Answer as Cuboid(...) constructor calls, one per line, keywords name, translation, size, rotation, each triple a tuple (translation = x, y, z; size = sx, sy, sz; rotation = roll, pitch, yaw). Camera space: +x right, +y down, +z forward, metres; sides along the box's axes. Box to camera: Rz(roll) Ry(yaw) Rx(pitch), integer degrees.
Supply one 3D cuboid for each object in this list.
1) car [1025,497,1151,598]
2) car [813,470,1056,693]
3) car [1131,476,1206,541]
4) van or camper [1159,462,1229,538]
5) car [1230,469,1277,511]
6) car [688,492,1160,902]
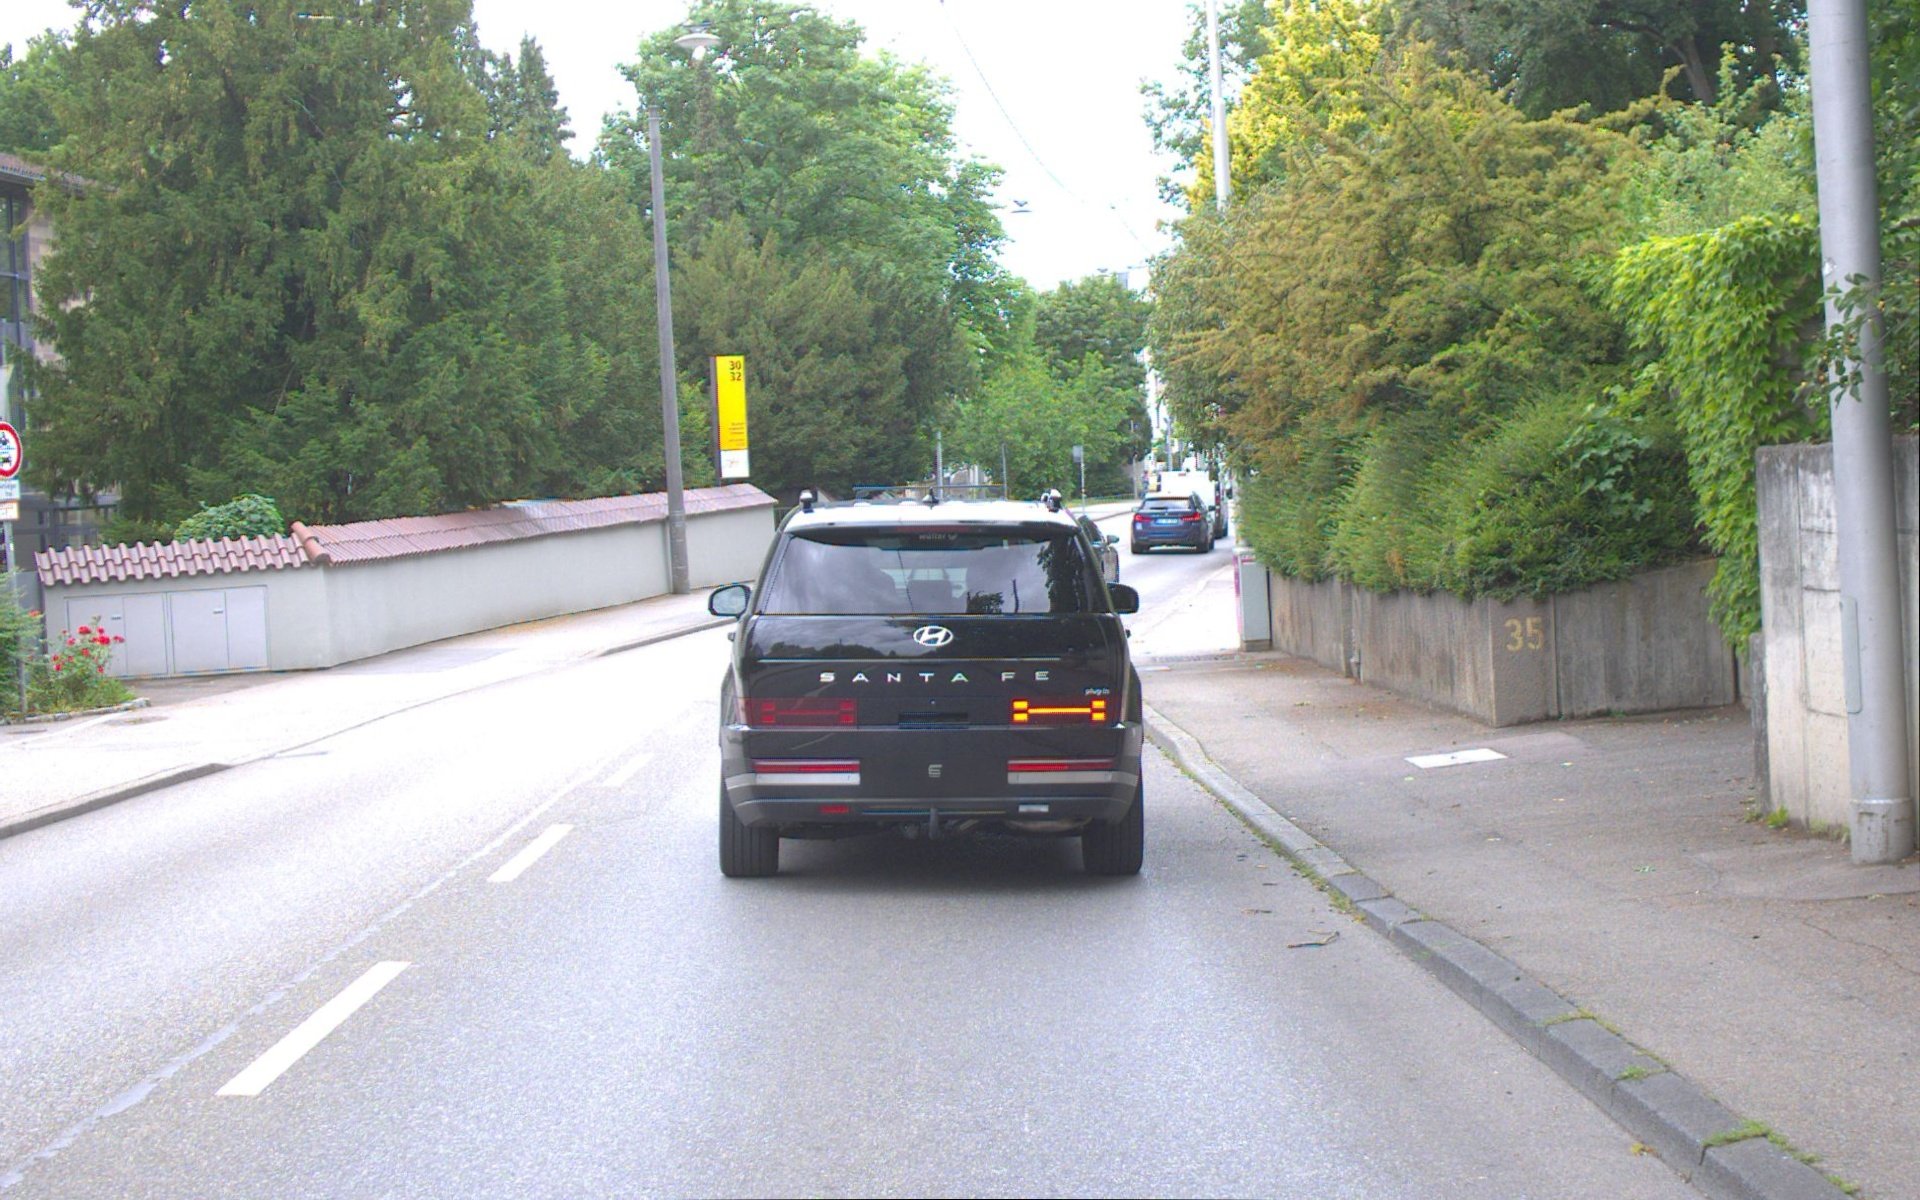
Cuboid(name="car", translation=(2.135, -0.887, 56.449), size=(1.676, 1.417, 3.937), rotation=(-3, 3, 7))
Cuboid(name="car", translation=(-0.172, -0.248, 33.040), size=(1.957, 1.949, 4.223), rotation=(0, 3, 5))
Cuboid(name="car", translation=(5.143, -2.277, 84.553), size=(1.676, 1.417, 3.938), rotation=(-3, 3, 5))
Cuboid(name="van or camper", translation=(6.743, -2.906, 98.951), size=(1.676, 2.000, 3.937), rotation=(-3, 3, 7))
Cuboid(name="car", translation=(12.079, -4.530, 141.189), size=(1.676, 1.536, 3.937), rotation=(-3, 3, 7))
Cuboid(name="car", translation=(-0.168, 0.354, 16.388), size=(1.957, 1.707, 4.224), rotation=(0, 1, -1))
